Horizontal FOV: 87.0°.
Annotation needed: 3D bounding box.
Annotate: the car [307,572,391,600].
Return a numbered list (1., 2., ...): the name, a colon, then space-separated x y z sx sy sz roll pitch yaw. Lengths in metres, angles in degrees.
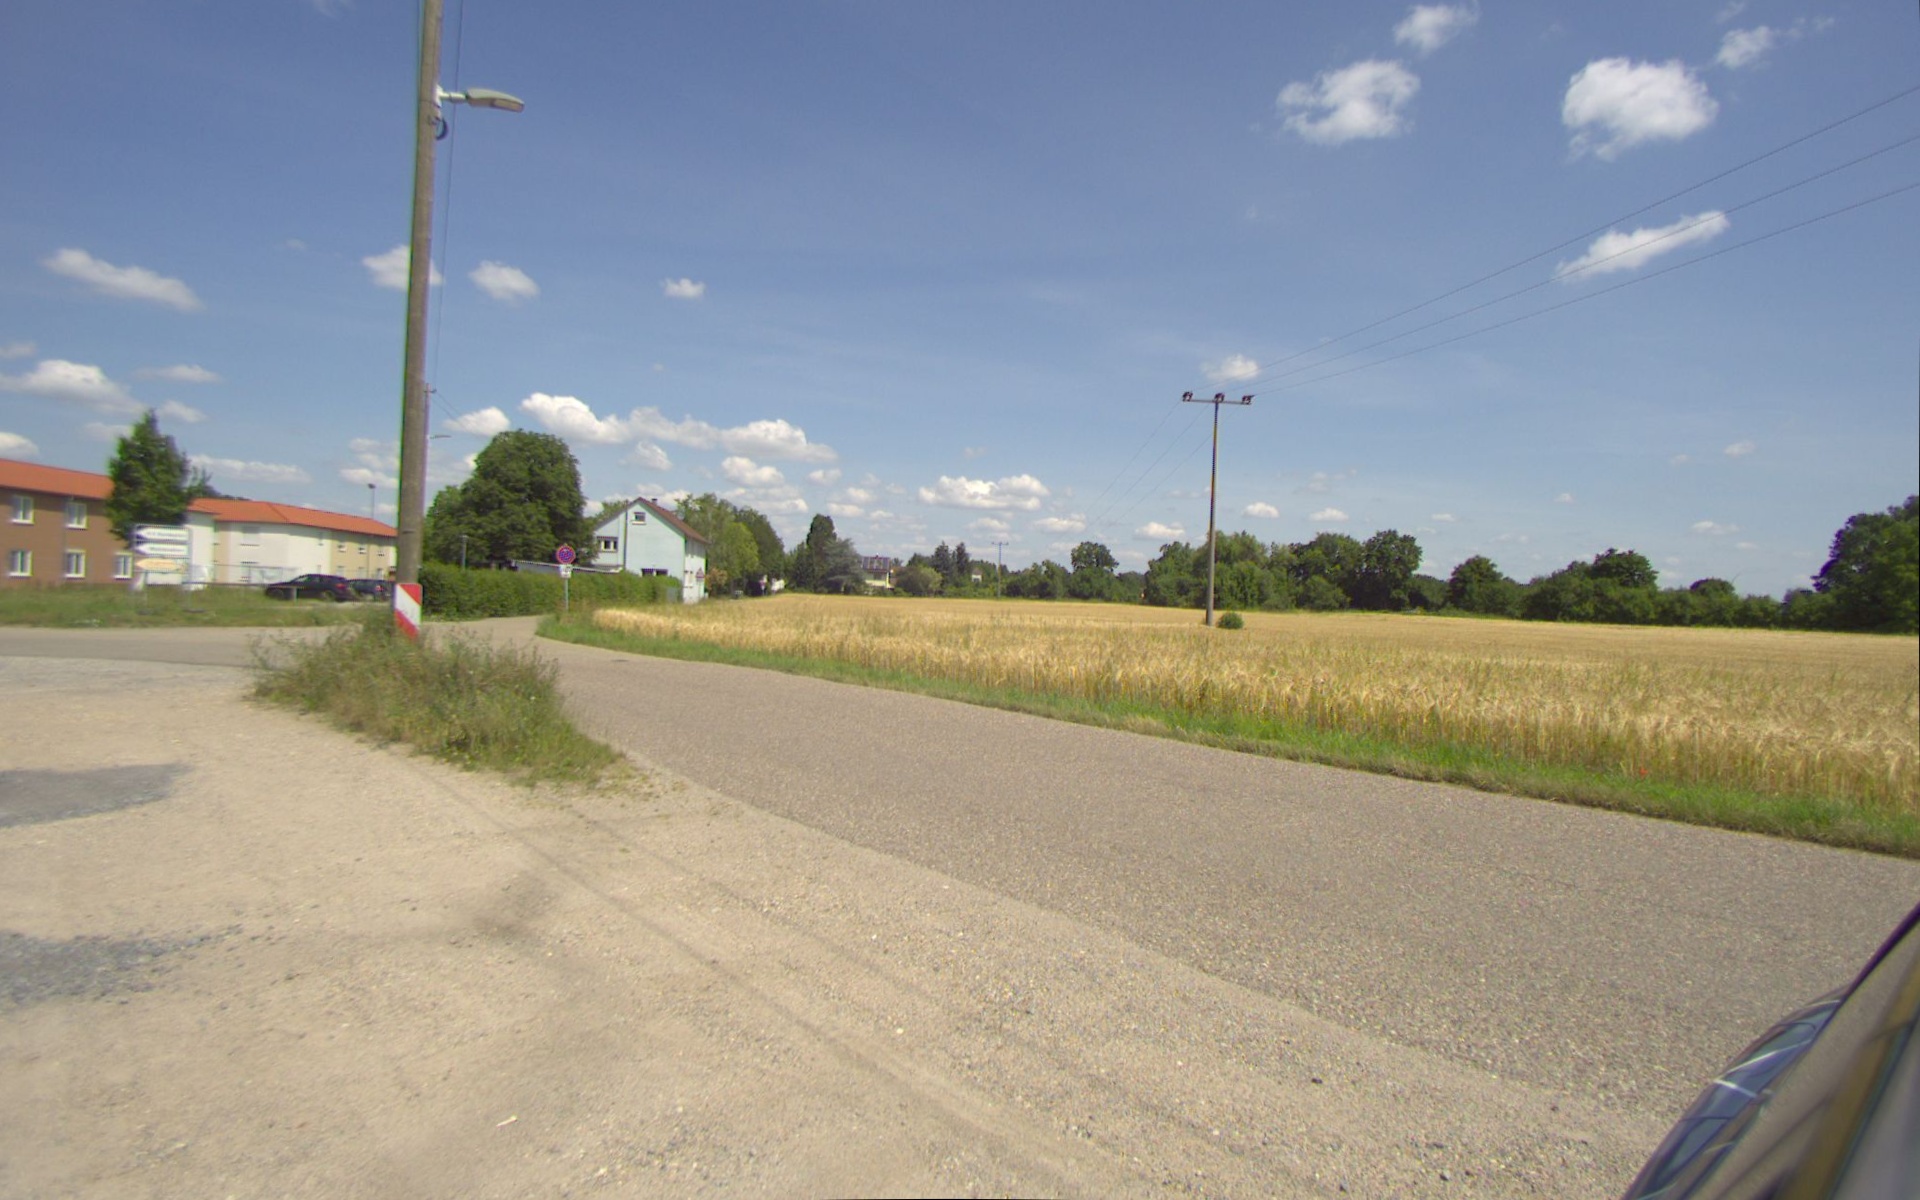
1. car: -38.617 -0.881 64.012 4.063 1.635 2.003 2 0 -9

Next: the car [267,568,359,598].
1. car: -38.341 -0.989 60.074 4.063 1.635 2.003 2 0 -9
